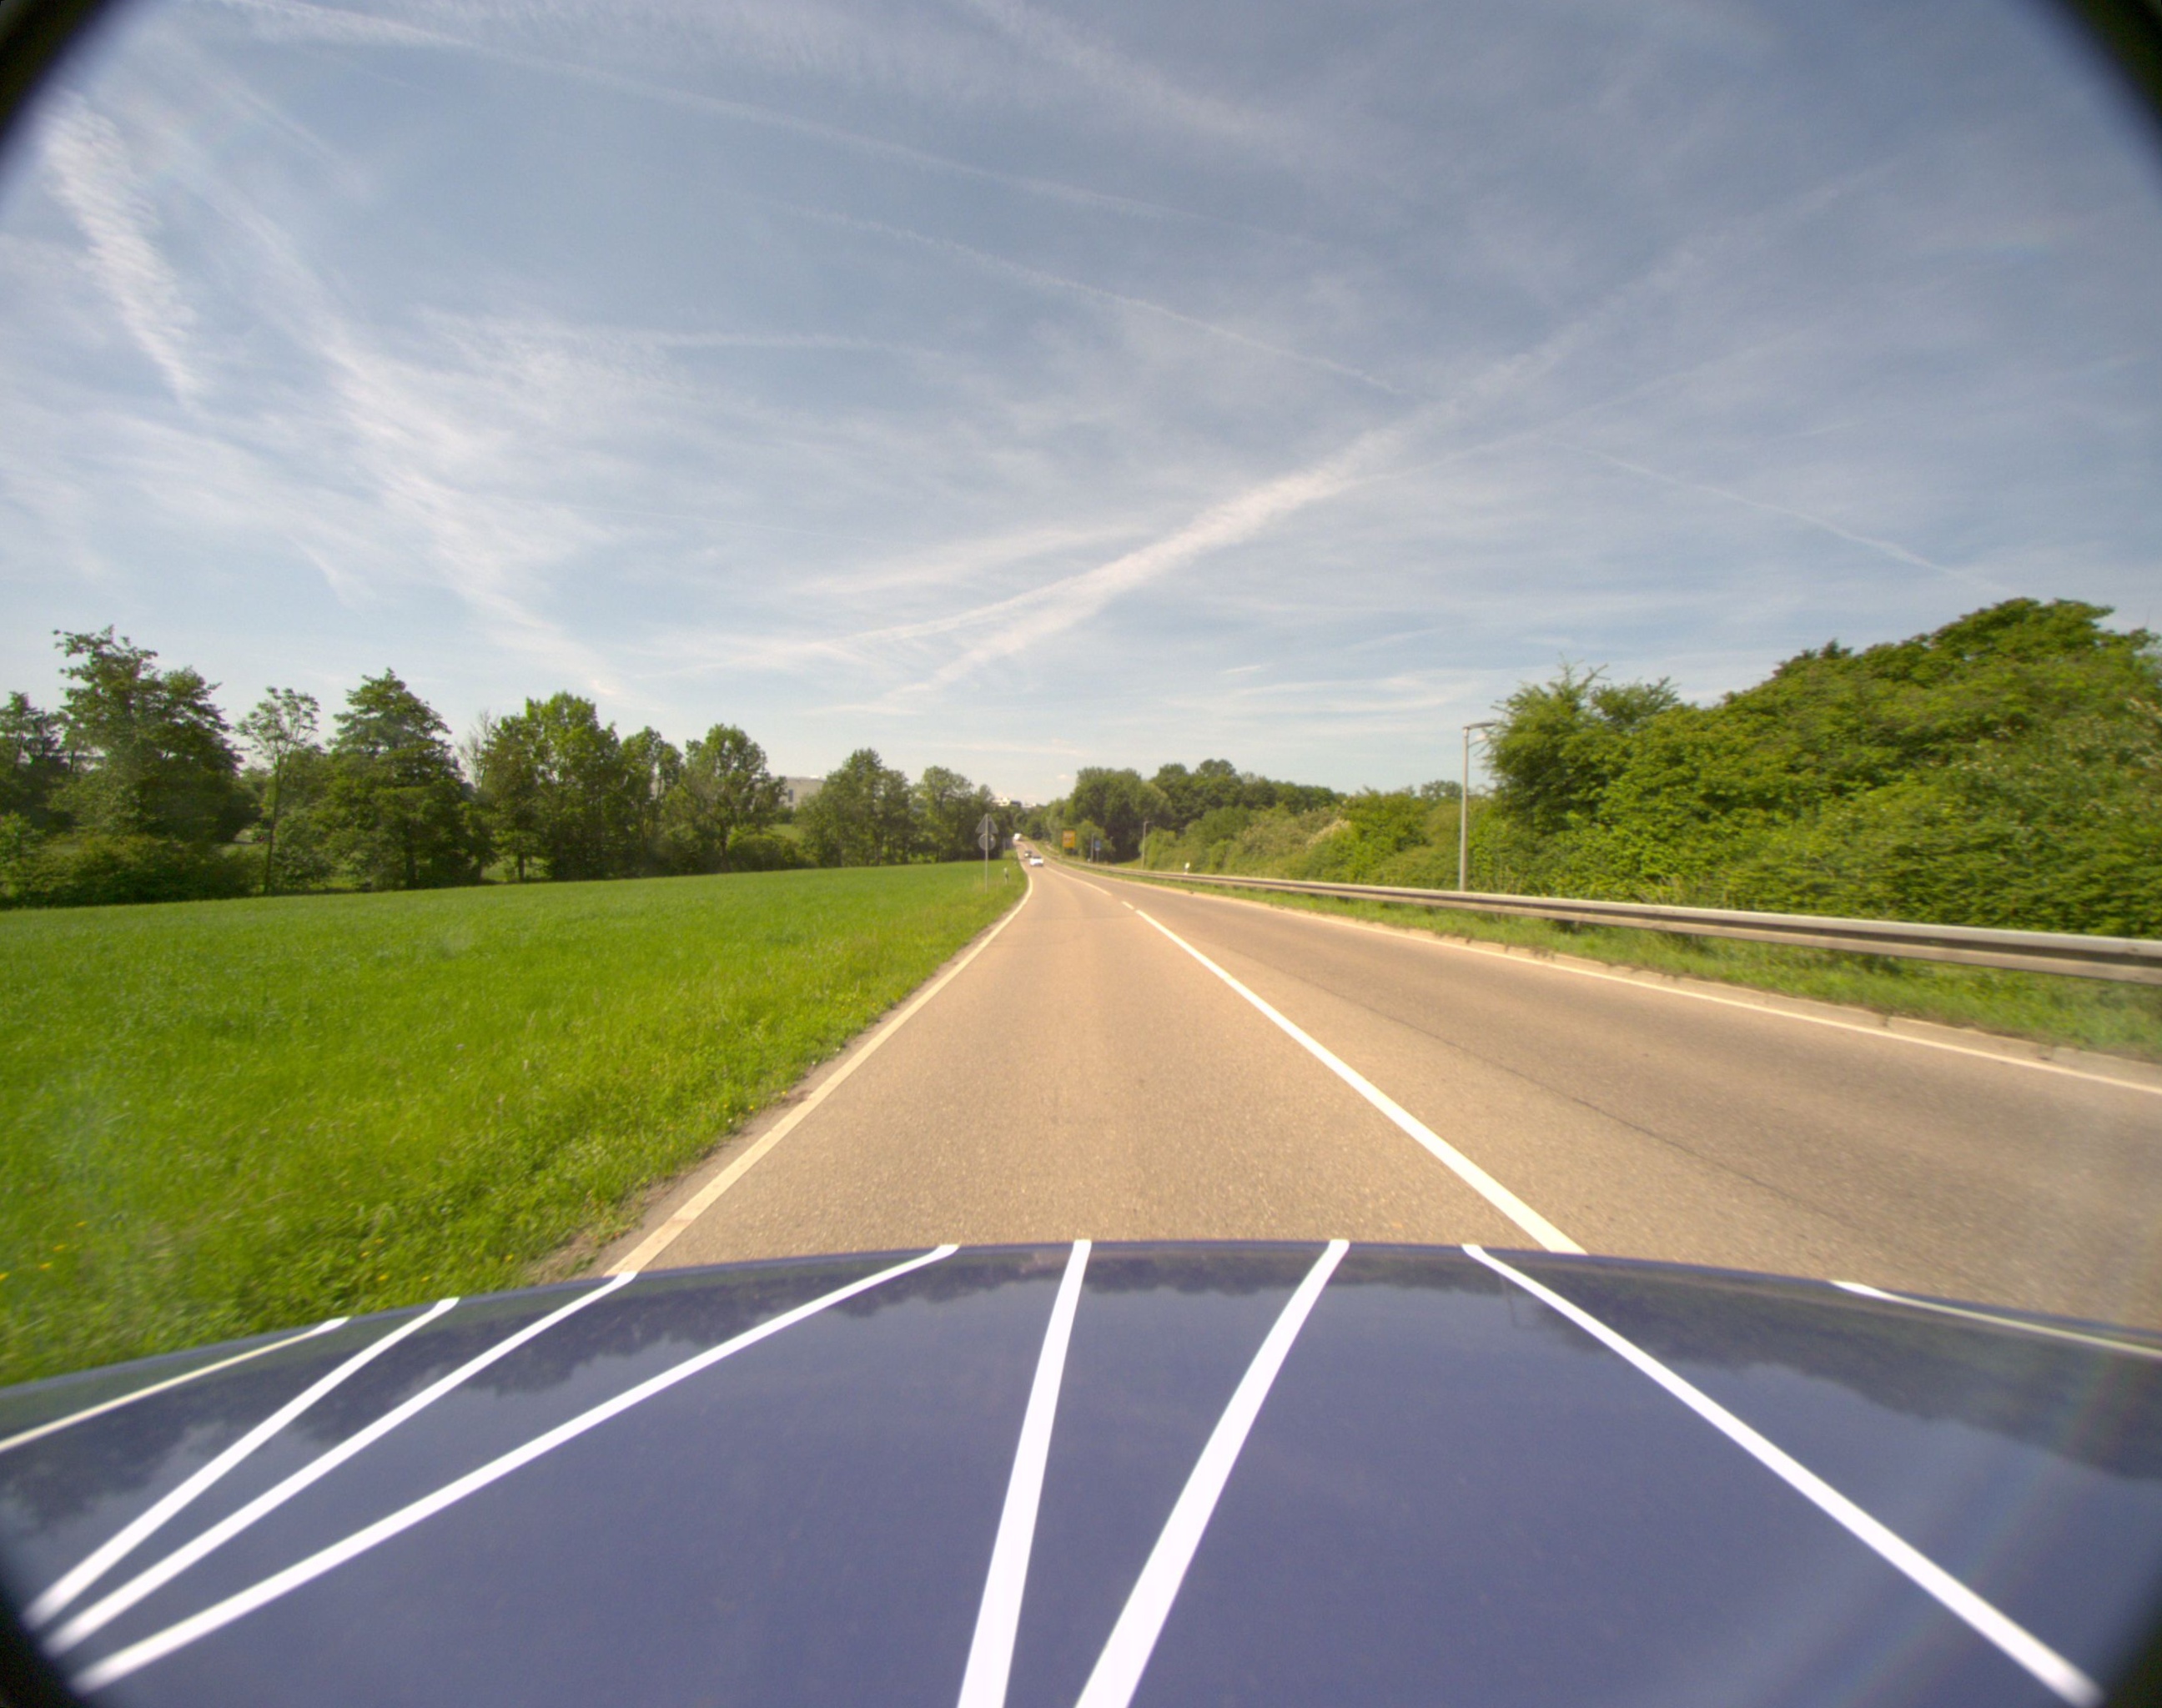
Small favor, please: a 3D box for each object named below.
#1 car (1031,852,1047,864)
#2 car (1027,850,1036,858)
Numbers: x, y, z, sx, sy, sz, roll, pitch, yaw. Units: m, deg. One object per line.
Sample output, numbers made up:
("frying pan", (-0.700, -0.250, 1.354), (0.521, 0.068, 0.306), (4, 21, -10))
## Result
("car", (-5.882, 0.565, 106.962), (1.999, 1.575, 3.999), (-1, 0, -1))
("car", (-10.907, -0.026, 167.972), (1.999, 1.575, 3.998), (-1, 0, -5))
